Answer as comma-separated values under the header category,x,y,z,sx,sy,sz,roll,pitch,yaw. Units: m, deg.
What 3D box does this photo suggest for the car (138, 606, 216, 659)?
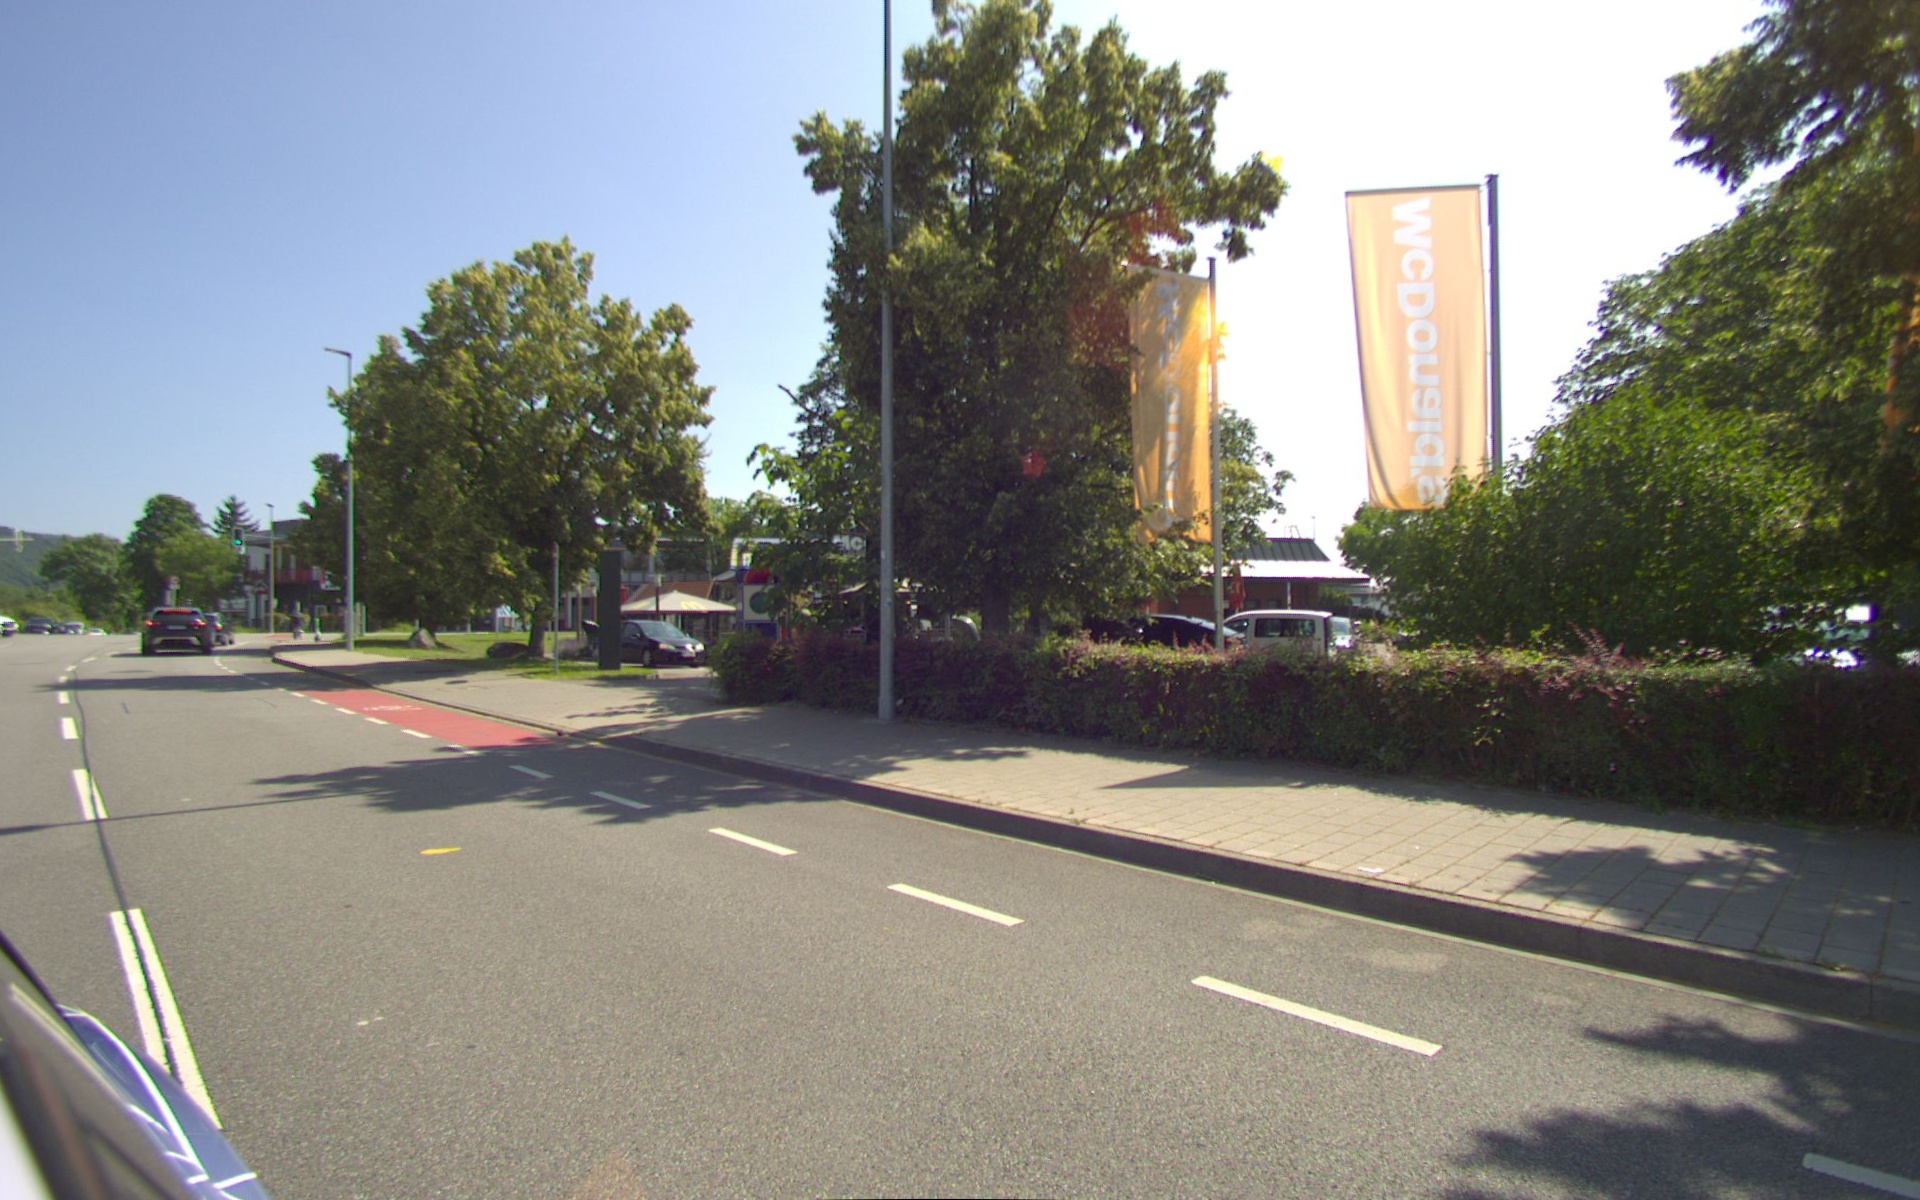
category,x,y,z,sx,sy,sz,roll,pitch,yaw
car,-27.425,1.129,35.575,1.924,1.708,4.624,1,-2,-35

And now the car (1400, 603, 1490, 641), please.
category,x,y,z,sx,sy,sz,roll,pitch,yaw
car,29.126,1.342,61.005,1.965,2.194,4.819,1,-2,-21

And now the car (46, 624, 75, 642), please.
category,x,y,z,sx,sy,sz,roll,pitch,yaw
car,-81.219,2.960,91.453,1.646,1.544,4.008,1,-2,-38

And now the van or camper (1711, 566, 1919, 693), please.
category,x,y,z,sx,sy,sz,roll,pitch,yaw
van or camper,13.641,0.468,16.225,1.992,1.753,4.242,-1,-2,29

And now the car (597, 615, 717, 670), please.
category,x,y,z,sx,sy,sz,roll,pitch,yaw
car,-9.292,1.272,30.869,1.837,1.564,4.192,1,-2,-43

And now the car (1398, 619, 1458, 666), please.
category,x,y,z,sx,sy,sz,roll,pitch,yaw
car,14.708,1.295,31.752,1.391,1.386,3.310,-1,-2,30

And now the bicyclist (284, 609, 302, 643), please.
category,x,y,z,sx,sy,sz,roll,pitch,yaw
bicyclist,-36.042,1.411,54.696,0.700,1.802,0.811,1,-2,-27

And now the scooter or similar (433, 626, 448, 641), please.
category,x,y,z,sx,sy,sz,roll,pitch,yaw
scooter or similar,-39.876,2.574,77.692,0.493,1.132,1.507,0,-2,-8

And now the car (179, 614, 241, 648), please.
category,x,y,z,sx,sy,sz,roll,pitch,yaw
car,-34.891,1.438,47.181,1.755,1.508,4.737,1,-2,-30

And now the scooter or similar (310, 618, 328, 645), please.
category,x,y,z,sx,sy,sz,roll,pitch,yaw
scooter or similar,-28.853,1.422,45.566,0.465,1.193,1.370,1,-2,-25

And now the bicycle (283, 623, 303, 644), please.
category,x,y,z,sx,sy,sz,roll,pitch,yaw
bicycle,-36.043,1.786,54.717,0.687,1.113,1.761,3,-3,-28

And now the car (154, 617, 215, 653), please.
category,x,y,z,sx,sy,sz,roll,pitch,yaw
car,-31.200,1.396,40.798,1.633,1.391,4.011,1,-2,-33

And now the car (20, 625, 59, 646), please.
category,x,y,z,sx,sy,sz,roll,pitch,yaw
car,-75.678,2.898,83.255,1.801,1.640,4.247,1,-2,-35

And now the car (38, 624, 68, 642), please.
category,x,y,z,sx,sy,sz,roll,pitch,yaw
car,-78.432,2.860,87.559,1.646,1.544,4.008,1,-2,-38

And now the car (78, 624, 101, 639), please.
category,x,y,z,sx,sy,sz,roll,pitch,yaw
car,-91.397,3.341,106.290,1.646,1.544,4.008,1,-2,-38

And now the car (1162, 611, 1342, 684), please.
category,x,y,z,sx,sy,sz,roll,pitch,yaw
car,7.463,1.181,25.880,4.224,1.748,1.704,-1,-2,25

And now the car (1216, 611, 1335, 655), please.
category,x,y,z,sx,sy,sz,roll,pitch,yaw
car,12.771,1.341,41.068,4.336,1.697,1.755,-1,-2,33

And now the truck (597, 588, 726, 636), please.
category,x,y,z,sx,sy,sz,roll,pitch,yaw
truck,-22.138,0.915,75.333,9.011,3.412,3.324,0,-2,-17

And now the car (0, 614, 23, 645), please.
category,x,y,z,sx,sy,sz,roll,pitch,yaw
car,-56.321,1.676,57.203,4.558,1.732,2.004,0,-2,-9
